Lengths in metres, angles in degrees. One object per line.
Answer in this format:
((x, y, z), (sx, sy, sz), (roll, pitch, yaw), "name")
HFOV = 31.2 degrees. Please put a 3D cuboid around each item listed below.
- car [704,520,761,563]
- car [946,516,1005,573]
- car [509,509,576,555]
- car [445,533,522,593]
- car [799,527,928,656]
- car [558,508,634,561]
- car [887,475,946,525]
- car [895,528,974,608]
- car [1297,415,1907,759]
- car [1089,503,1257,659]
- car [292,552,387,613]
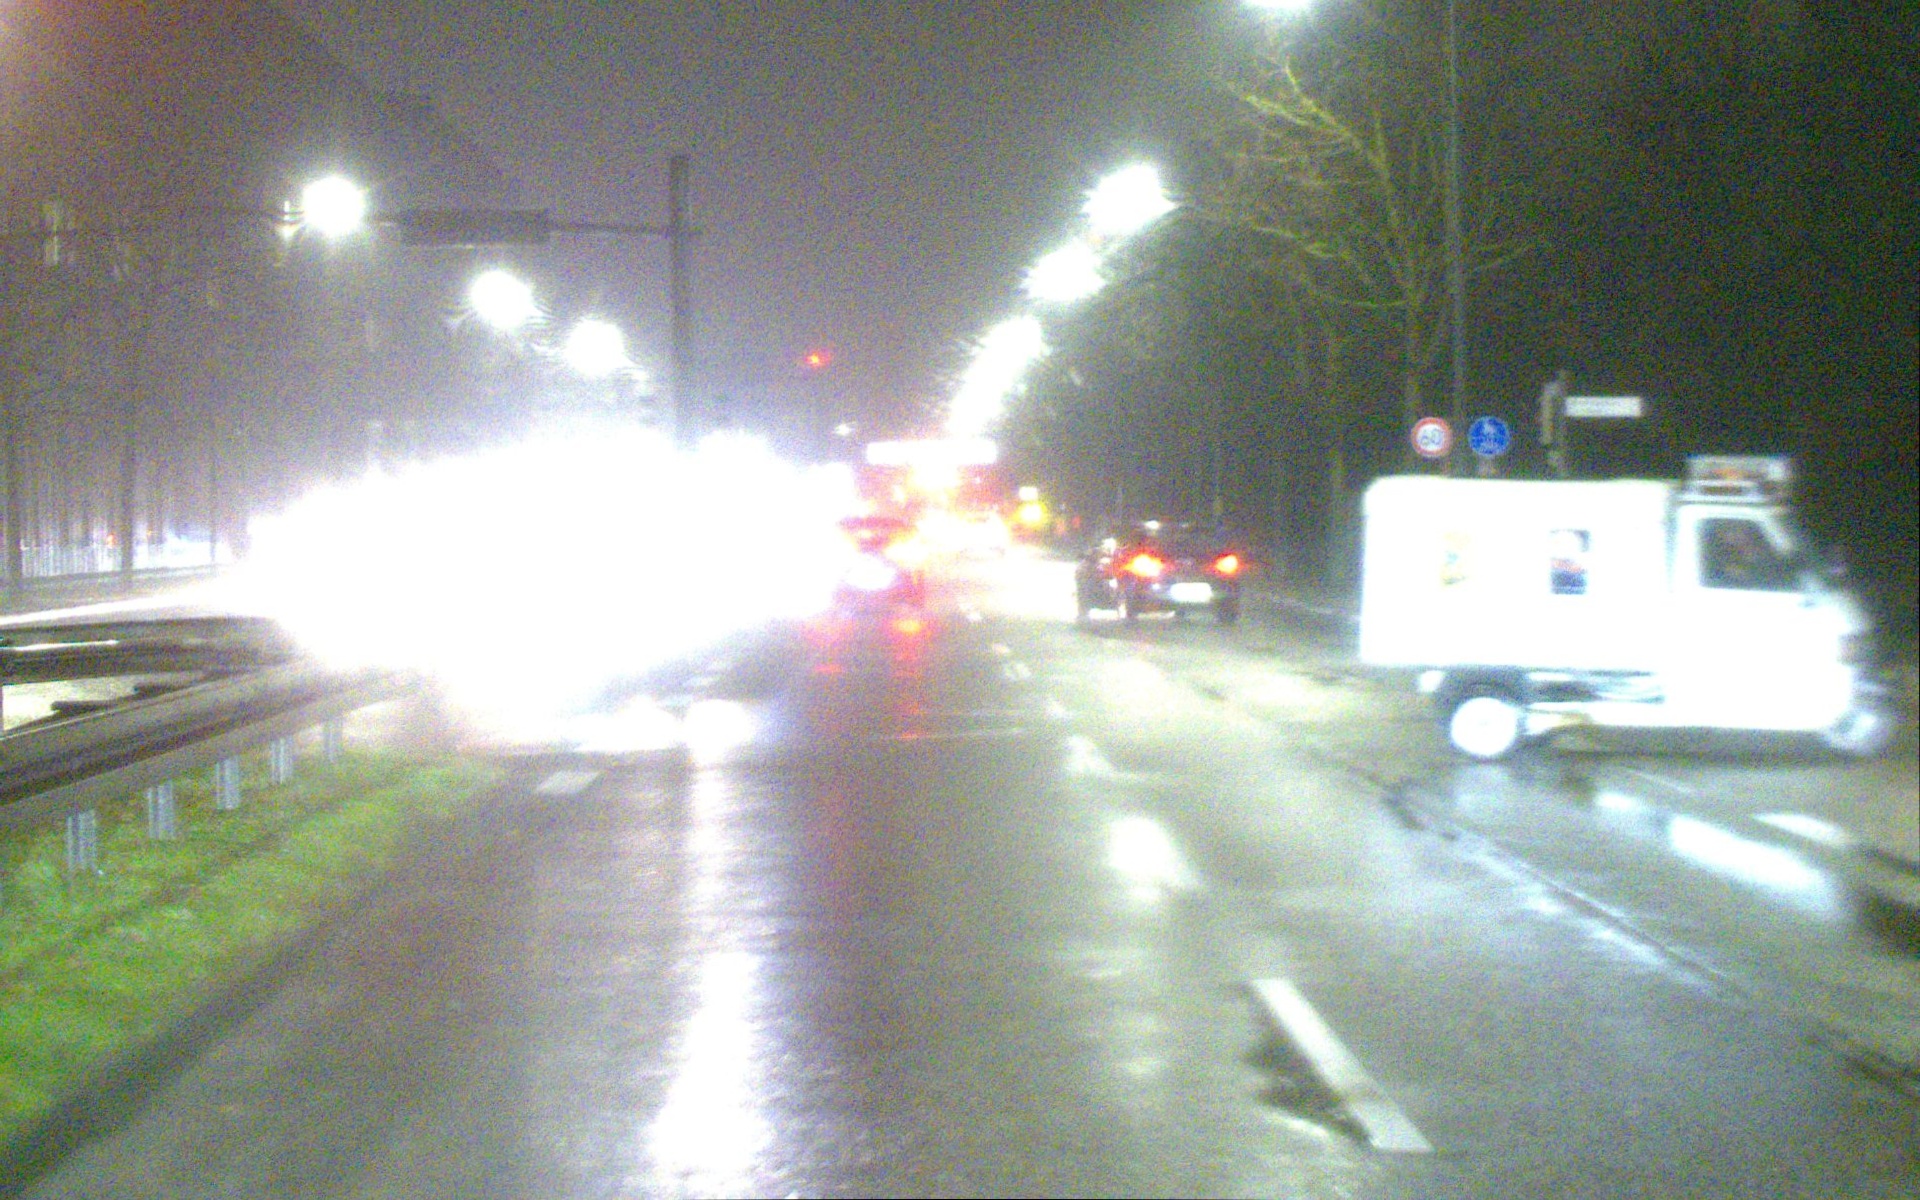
((-8.408, -2.139, 127.388), (1.885, 1.547, 4.433), (0, 0, -1), "car")
((0.578, -1.972, 123.229), (2.038, 2.007, 4.307), (0, 0, 2), "car")
((-14.630, -2.370, 120.652), (1.885, 1.547, 4.433), (0, 0, -1), "car")
((-14.140, -1.097, 102.157), (1.749, 1.703, 4.499), (-2, 1, -2), "car")
((-1.517, -0.146, 55.236), (1.993, 2.007, 4.000), (0, 0, -1), "car")
((-11.020, -1.983, 104.439), (1.885, 1.547, 4.433), (0, 0, -1), "car")
((-1.995, -4.539, 156.926), (2.441, 2.186, 5.079), (0, 0, -3), "car")
((-0.656, -0.847, 90.953), (2.038, 2.075, 4.307), (0, 0, 0), "car")
((4.017, -0.089, 21.381), (3.559, 2.007, 1.703), (0, 0, 17), "car")
((3.090, -0.280, 50.553), (2.208, 2.207, 3.643), (0, 0, 0), "car")
((-16.211, -0.468, 89.936), (1.800, 1.559, 4.000), (0, 0, -1), "car")
